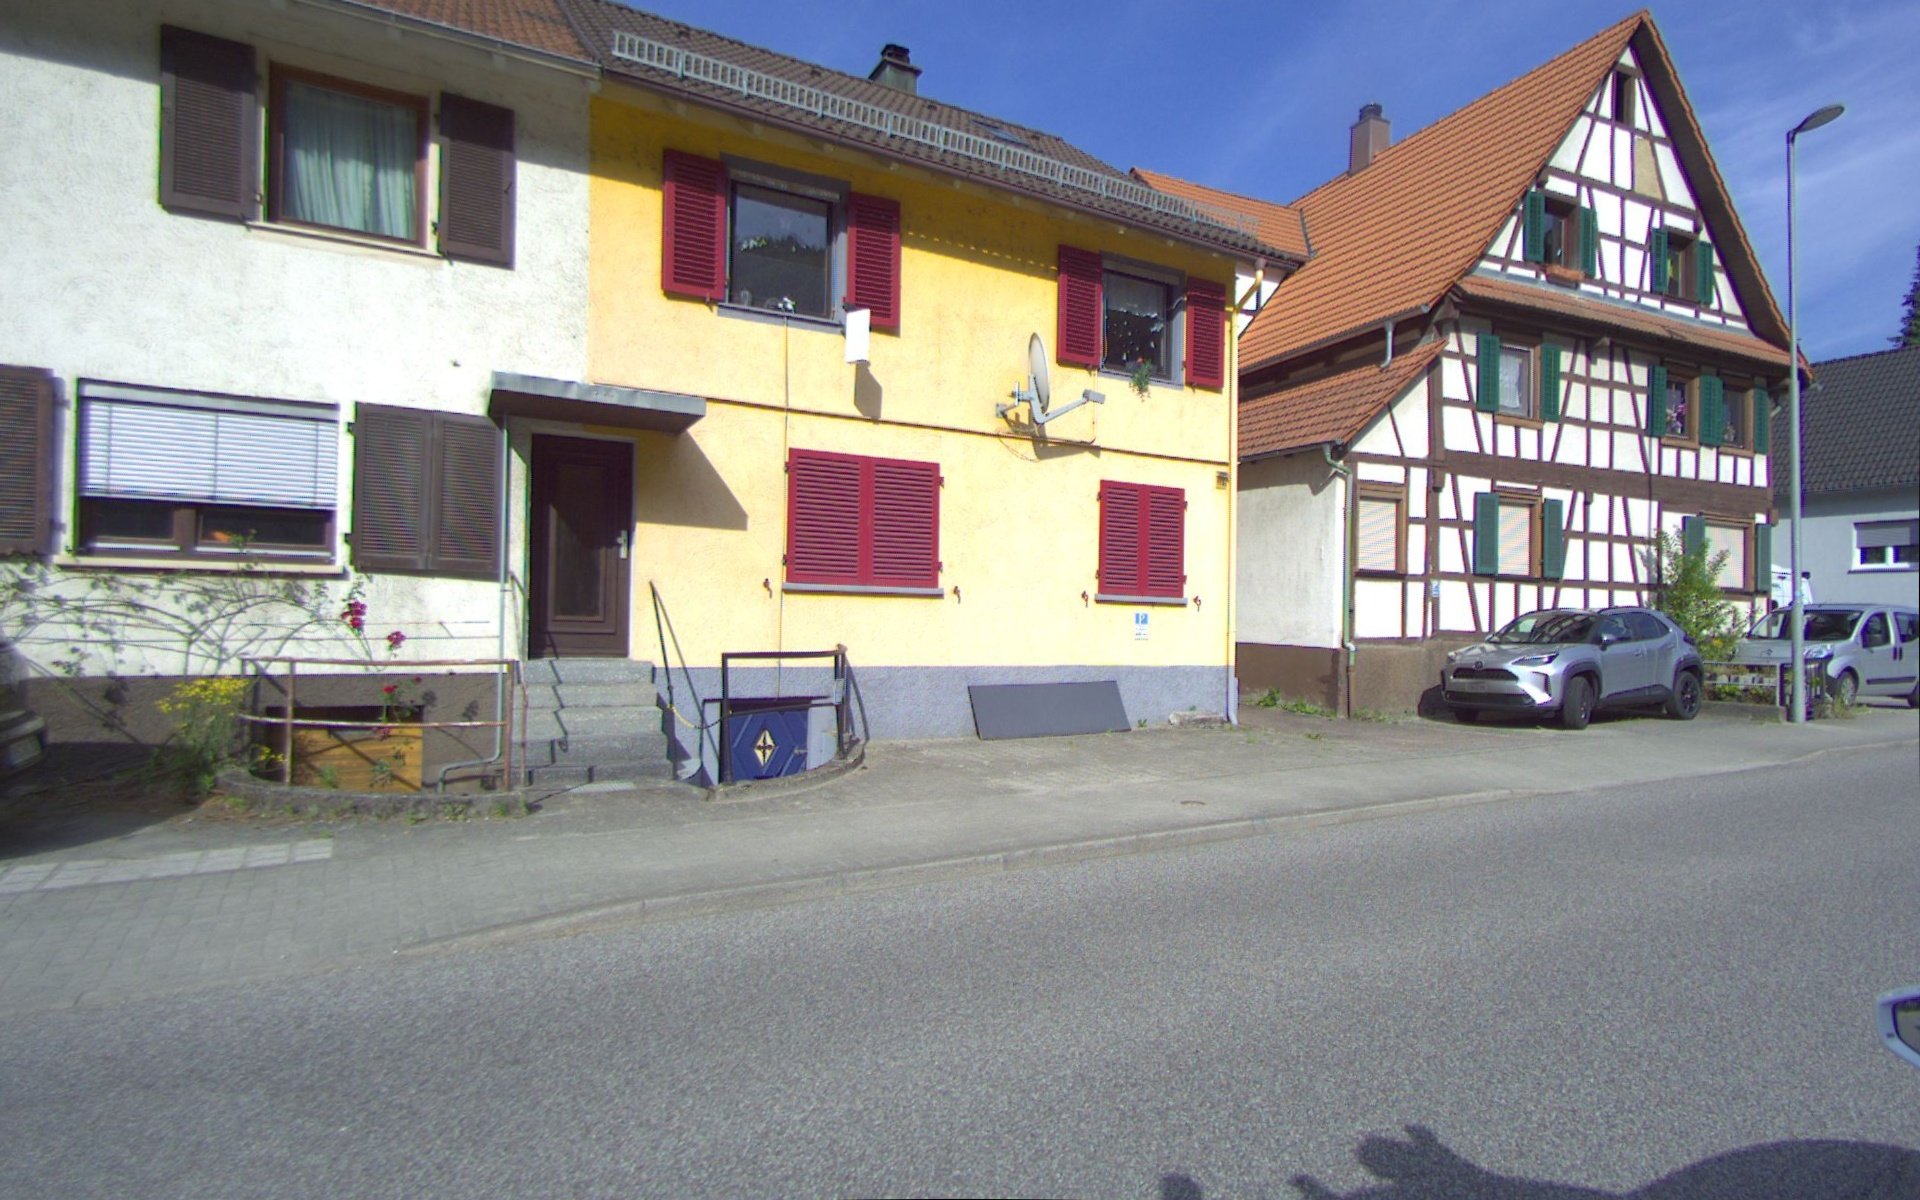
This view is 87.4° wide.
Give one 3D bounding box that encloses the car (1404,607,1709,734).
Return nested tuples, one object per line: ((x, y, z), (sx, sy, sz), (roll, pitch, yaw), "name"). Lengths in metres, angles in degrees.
((8.331, 0.913, 13.987), (4.044, 1.539, 1.876), (1, -2, -29), "car")

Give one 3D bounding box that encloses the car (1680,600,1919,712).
((14.439, 0.897, 16.950), (4.209, 1.686, 1.895), (1, 0, -25), "car")

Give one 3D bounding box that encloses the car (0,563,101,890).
((-6.707, 0.550, 4.421), (4.191, 1.539, 1.873), (1, 0, -33), "car")

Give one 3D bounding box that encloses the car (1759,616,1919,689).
((22.306, 1.251, 24.573), (1.883, 1.570, 3.902), (1, 1, -28), "car")

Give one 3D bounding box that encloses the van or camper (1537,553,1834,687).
((16.373, 0.412, 23.085), (2.159, 2.699, 5.168), (1, 0, -20), "van or camper")
